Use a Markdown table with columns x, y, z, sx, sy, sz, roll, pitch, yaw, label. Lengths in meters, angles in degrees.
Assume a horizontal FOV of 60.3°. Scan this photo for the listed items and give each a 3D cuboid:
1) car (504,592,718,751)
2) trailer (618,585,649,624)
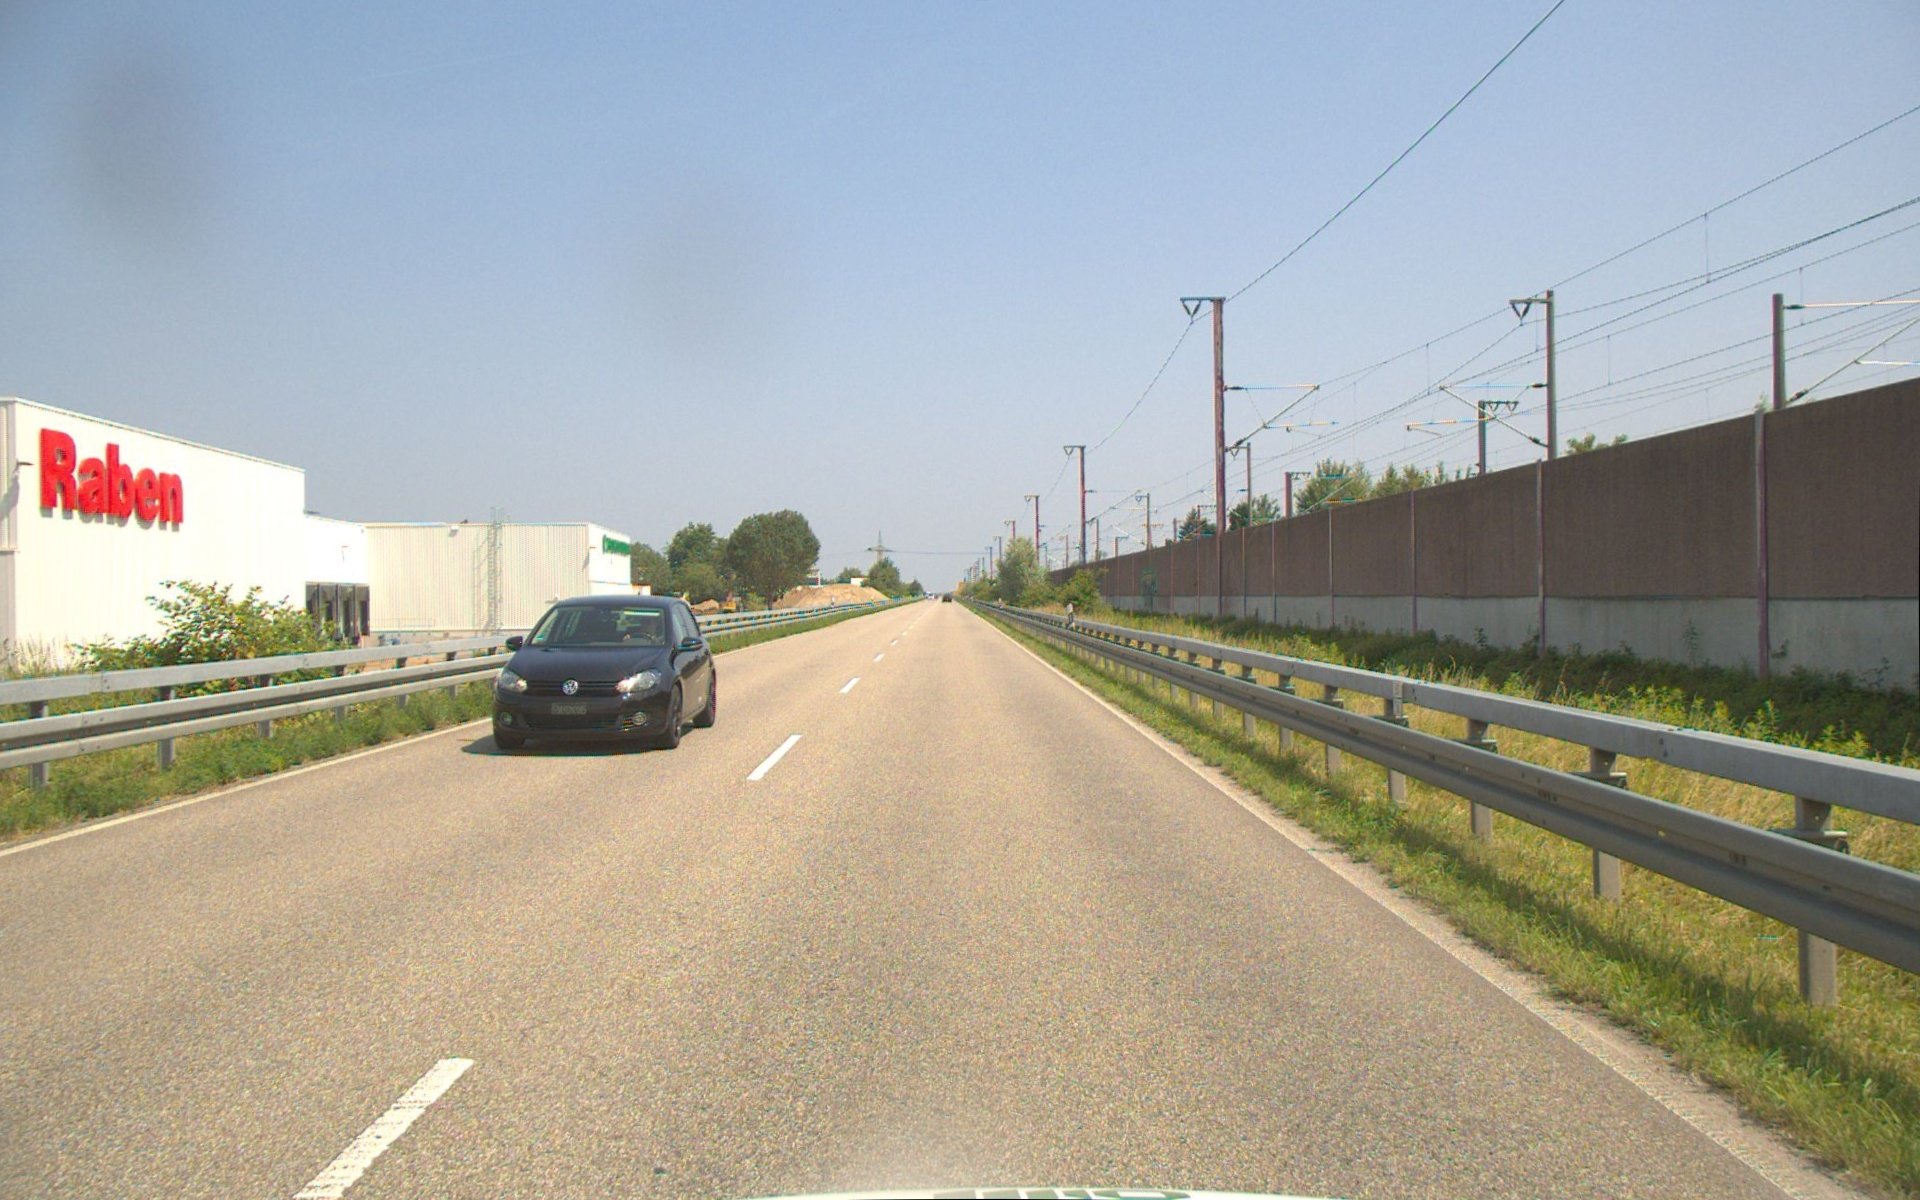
| x | y | z | sx | sy | sz | roll | pitch | yaw | label |
| --- | --- | --- | --- | --- | --- | --- | --- | --- | --- |
| -3.500 | 0.653 | 17.164 | 1.509 | 1.460 | 3.654 | 0 | 0 | -1 | car |
| -37.485 | 0.478 | 189.893 | 2.626 | 4.408 | 7.945 | 0 | 1 | -5 | trailer |
